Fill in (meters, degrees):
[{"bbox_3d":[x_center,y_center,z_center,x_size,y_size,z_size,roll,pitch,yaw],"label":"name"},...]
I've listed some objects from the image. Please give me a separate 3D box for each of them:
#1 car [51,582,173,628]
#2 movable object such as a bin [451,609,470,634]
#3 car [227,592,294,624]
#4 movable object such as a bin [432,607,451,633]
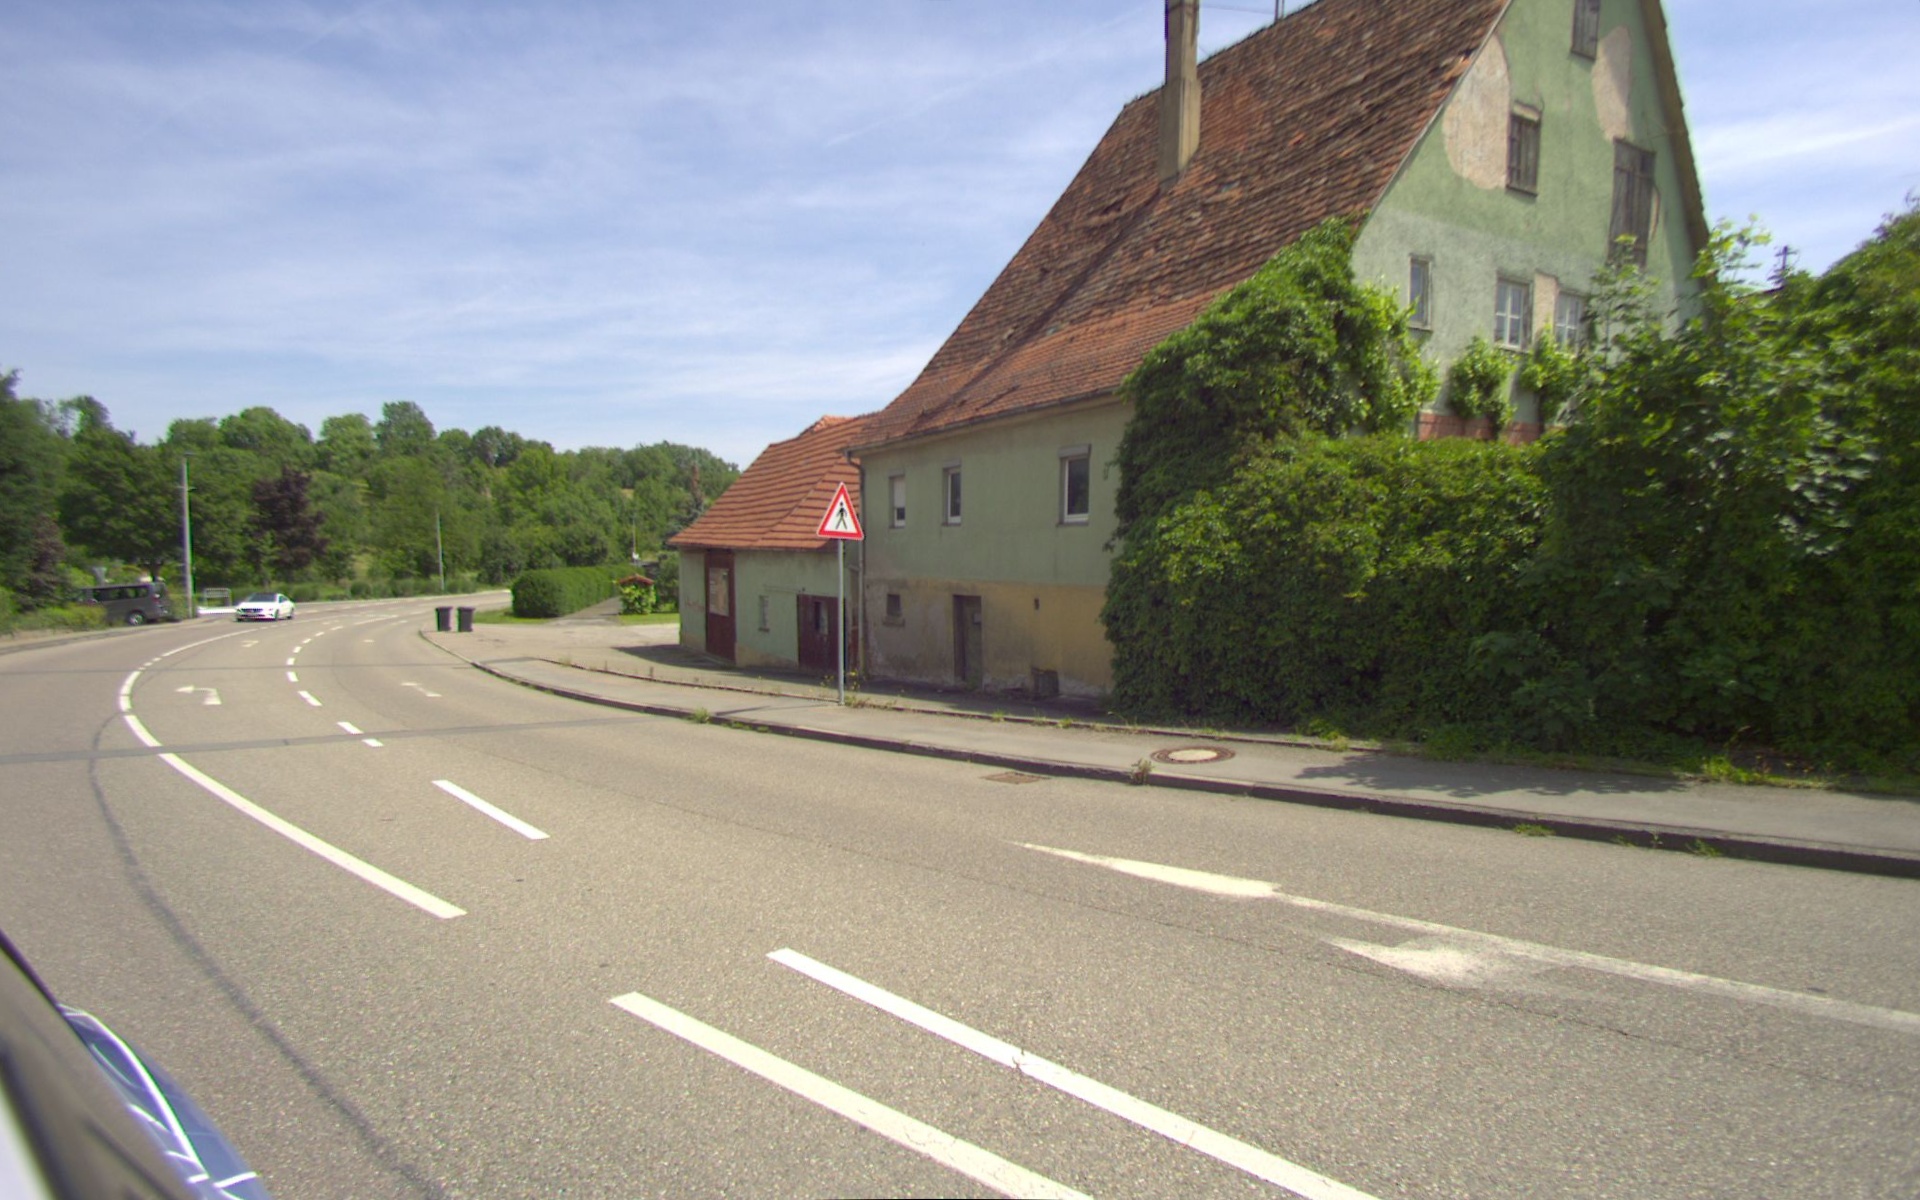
[{"bbox_3d":[-39.082,0.216,46.763,3.843,1.964,1.962,-2,1,-23],"label":"car"},{"bbox_3d":[-21.354,0.922,43.277,0.541,1.058,0.527,-1,1,41],"label":"movable object such as a bin"},{"bbox_3d":[-36.976,0.400,53.625,1.796,1.563,4.012,-2,1,-18],"label":"car"},{"bbox_3d":[-22.653,0.876,44.231,0.541,1.090,0.546,-1,1,41],"label":"movable object such as a bin"}]
